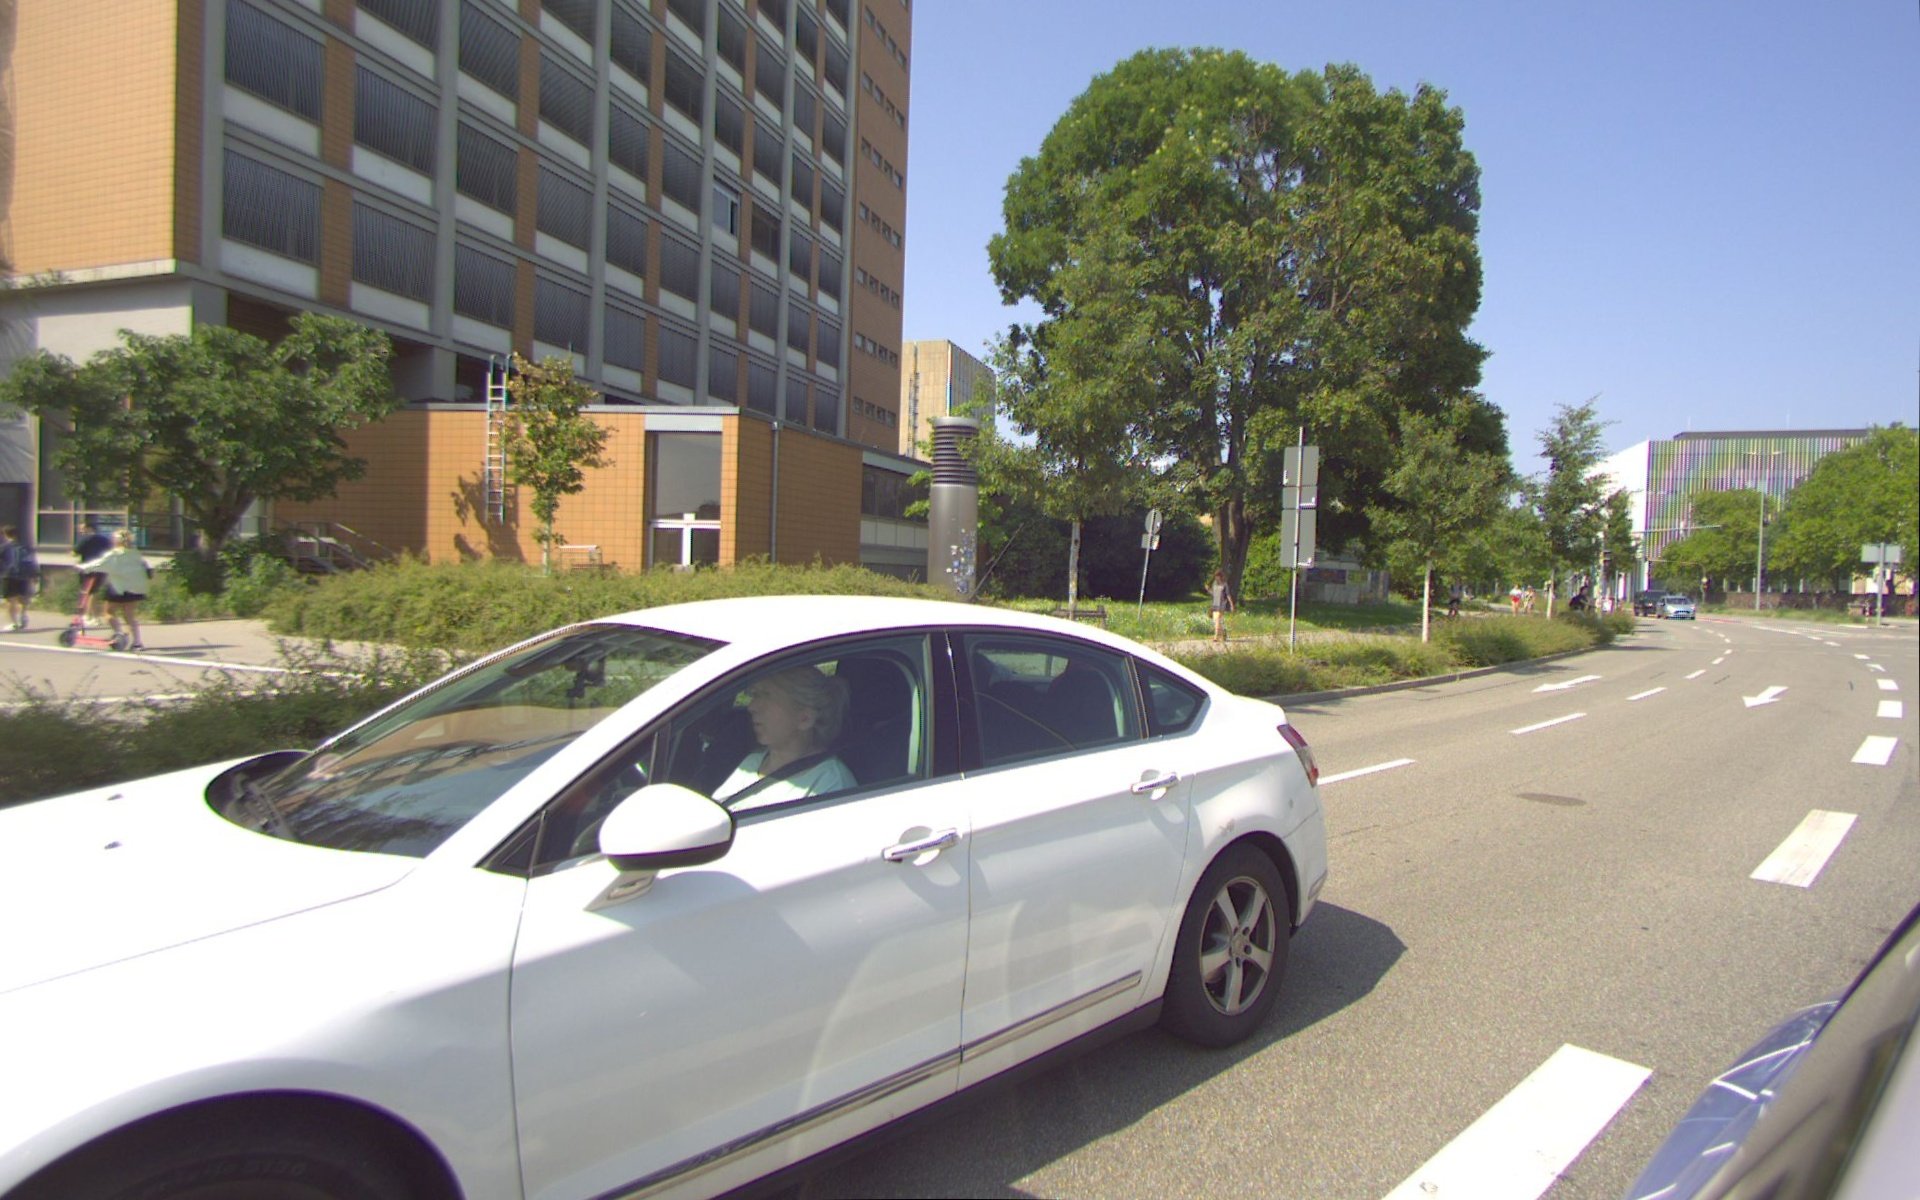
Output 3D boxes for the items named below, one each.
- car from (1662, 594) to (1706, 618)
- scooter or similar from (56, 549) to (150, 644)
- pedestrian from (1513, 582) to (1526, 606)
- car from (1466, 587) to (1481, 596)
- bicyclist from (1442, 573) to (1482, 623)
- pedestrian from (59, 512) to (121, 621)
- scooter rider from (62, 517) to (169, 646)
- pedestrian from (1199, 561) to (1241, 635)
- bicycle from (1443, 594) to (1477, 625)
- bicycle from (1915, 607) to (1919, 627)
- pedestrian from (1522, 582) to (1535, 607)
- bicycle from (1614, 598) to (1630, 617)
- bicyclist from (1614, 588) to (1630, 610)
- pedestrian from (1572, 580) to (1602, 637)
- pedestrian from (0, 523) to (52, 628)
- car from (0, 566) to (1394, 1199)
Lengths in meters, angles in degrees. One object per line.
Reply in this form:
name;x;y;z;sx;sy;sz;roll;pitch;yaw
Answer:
car;48.627;0.389;68.083;1.643;1.550;4.493;0;0;26
scooter or similar;-12.254;-0.054;14.474;1.166;1.295;0.645;0;0;28
pedestrian;30.614;-0.351;55.395;0.629;1.315;0.482;0;0;29
car;105.082;-1.749;207.053;1.848;1.549;4.510;2;2;16
bicyclist;16.831;-0.077;33.938;0.909;1.625;0.903;0;1;-43
pedestrian;-15.540;-0.608;18.082;0.830;1.894;0.622;2;2;31
scooter rider;-12.144;-0.259;14.566;1.030;1.780;0.852;0;0;27
pedestrian;6.185;-0.064;24.055;0.669;1.720;0.795;2;1;38
bicycle;16.658;0.315;33.705;1.751;0.992;0.357;0;1;-41
bicycle;52.804;0.958;54.261;2.260;1.090;0.650;3;2;42
pedestrian;31.113;-0.302;55.383;0.611;1.315;0.433;0;0;27
bicycle;44.293;0.470;67.722;0.588;1.183;2.216;2;1;25
bicyclist;44.367;-0.077;67.833;0.672;1.417;1.041;2;1;25
pedestrian;21.756;0.296;35.119;0.818;1.926;0.622;2;1;36
pedestrian;-15.764;-0.418;16.891;0.829;1.695;0.672;2;2;27
car;-0.683;0.669;3.033;4.527;1.446;1.773;0;2;-40
